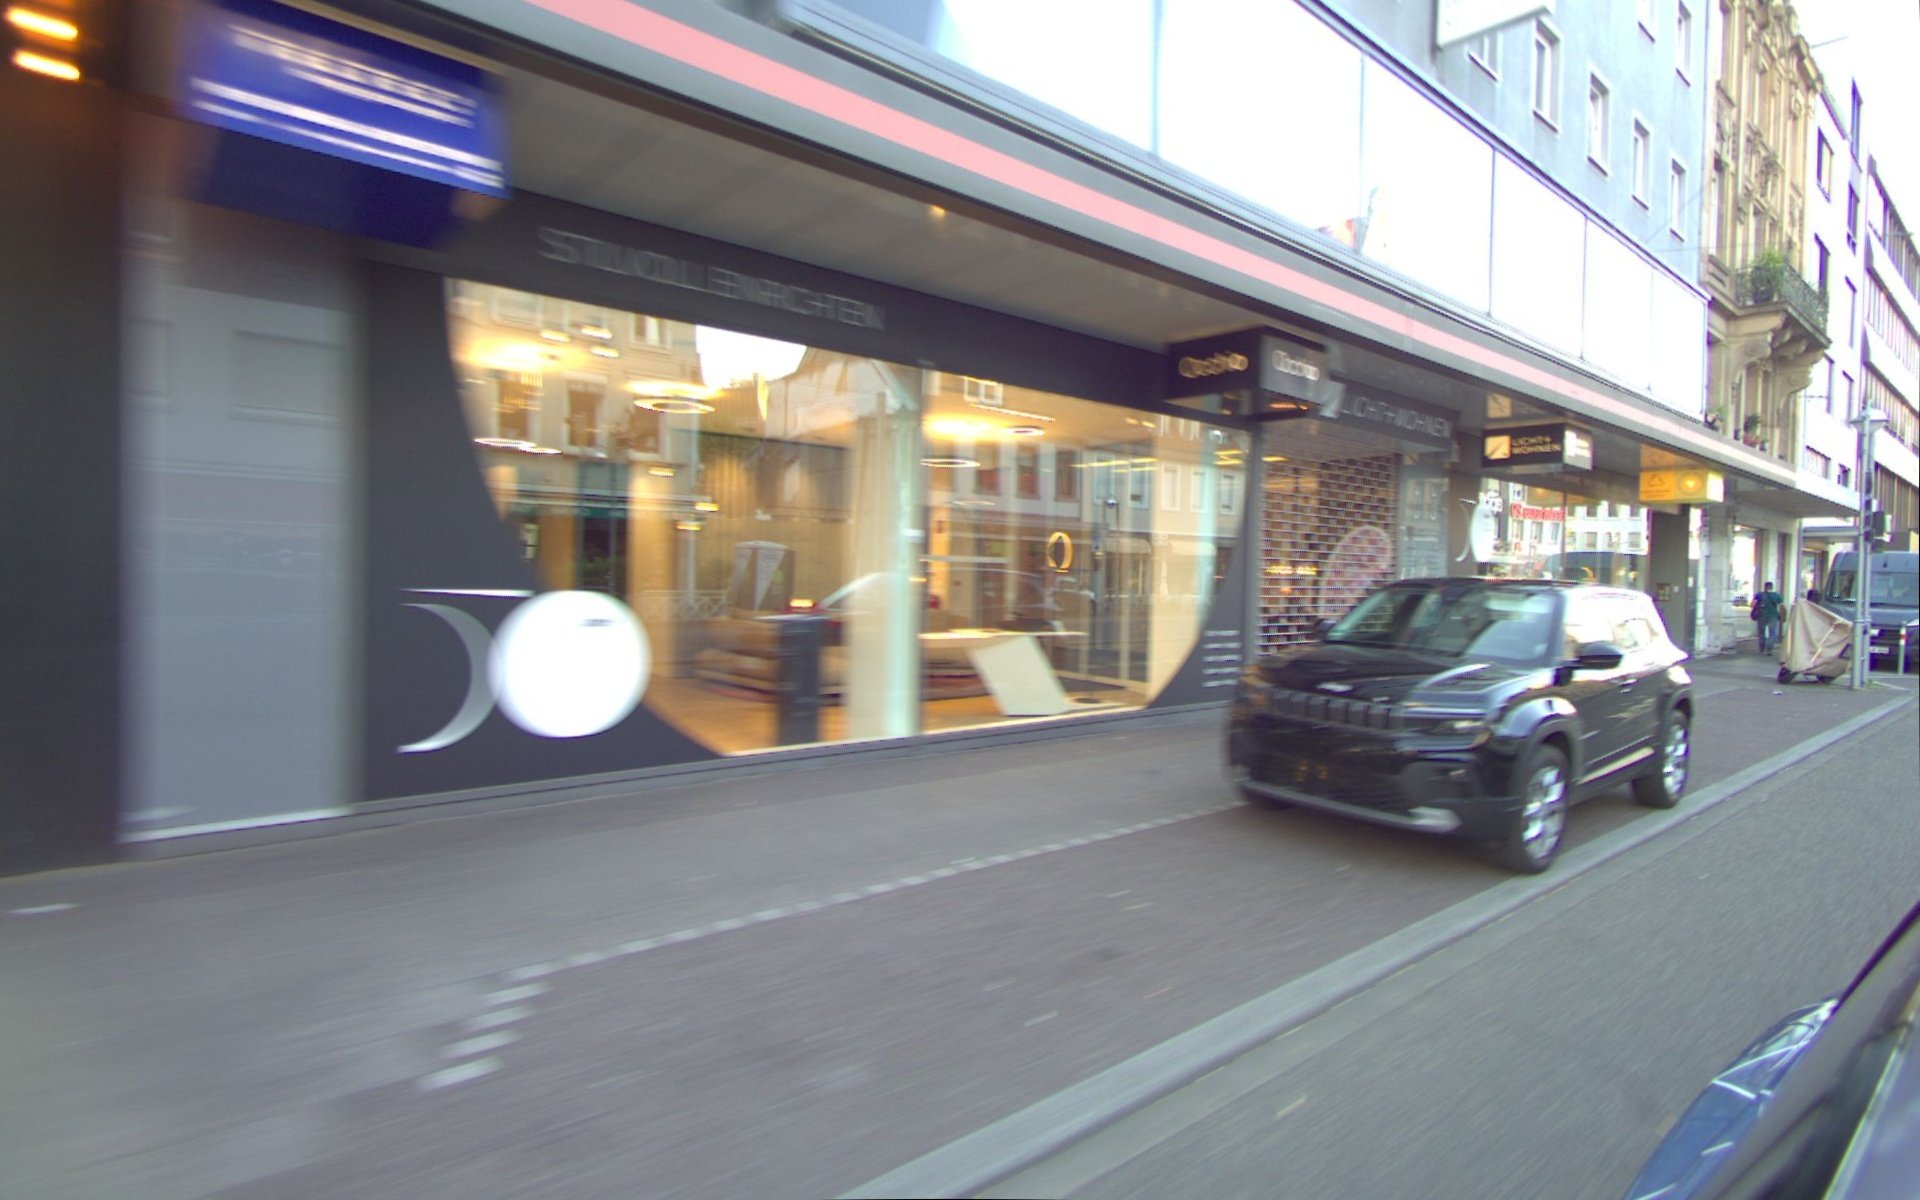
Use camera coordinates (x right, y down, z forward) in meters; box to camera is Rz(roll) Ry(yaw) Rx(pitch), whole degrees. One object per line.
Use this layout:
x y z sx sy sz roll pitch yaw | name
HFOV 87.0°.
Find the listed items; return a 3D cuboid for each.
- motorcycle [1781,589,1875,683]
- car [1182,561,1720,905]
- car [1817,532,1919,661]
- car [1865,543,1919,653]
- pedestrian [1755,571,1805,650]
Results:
14.420 0.552 16.782 2.591 1.421 0.784 0 3 -41 | motorcycle
3.333 0.551 6.532 3.897 1.560 1.743 -1 2 -41 | car
20.054 -0.097 21.543 5.509 2.479 2.077 -1 0 -42 | car
24.723 -0.084 25.632 5.506 2.606 1.997 -1 0 -41 | car
19.240 0.230 23.751 0.776 1.777 0.742 -1 4 -44 | pedestrian
